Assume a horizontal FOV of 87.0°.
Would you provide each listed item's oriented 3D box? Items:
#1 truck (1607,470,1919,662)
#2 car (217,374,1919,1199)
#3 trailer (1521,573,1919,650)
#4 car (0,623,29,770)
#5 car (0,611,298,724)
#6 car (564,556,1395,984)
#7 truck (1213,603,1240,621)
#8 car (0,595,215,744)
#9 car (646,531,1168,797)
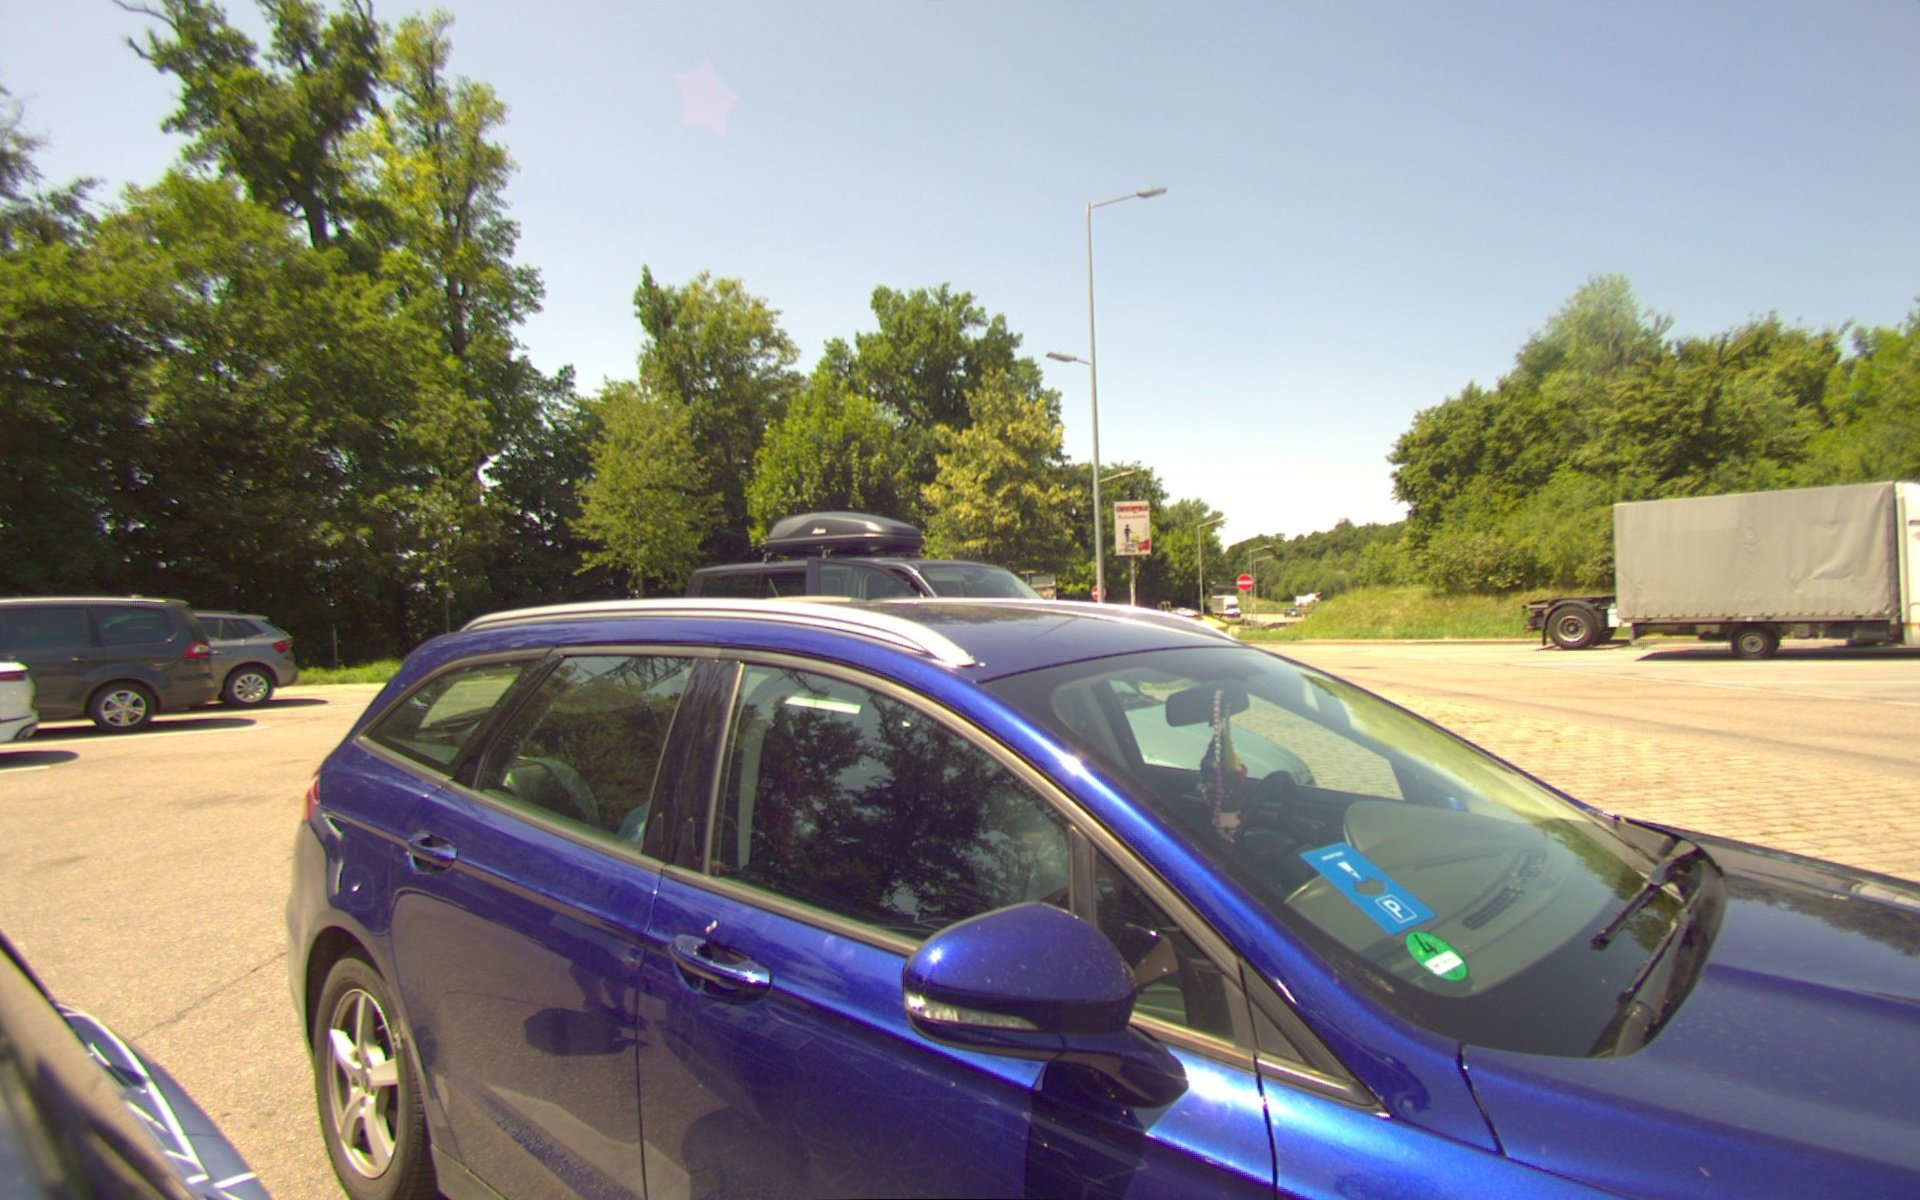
[{"bbox_3d":[16.711,-0.605,18.933,7.337,3.235,2.502,-4,-1,41],"label":"truck"},{"bbox_3d":[0.253,0.635,2.071,4.637,1.493,1.720,-2,-1,39],"label":"car"},{"bbox_3d":[17.639,0.307,23.155,8.088,1.385,2.200,-4,-1,41],"label":"trailer"},{"bbox_3d":[-10.991,0.934,9.154,3.767,1.396,1.722,0,-1,-44],"label":"car"},{"bbox_3d":[-12.589,0.957,15.699,3.762,1.551,1.724,0,-1,-38],"label":"car"},{"bbox_3d":[-0.210,0.672,5.783,4.637,1.545,1.720,-2,0,39],"label":"car"},{"bbox_3d":[46.930,2.120,178.568,2.427,2.980,5.849,-1,0,-8],"label":"truck"},{"bbox_3d":[-11.650,0.824,12.618,3.762,1.737,1.724,0,-1,-38],"label":"car"},{"bbox_3d":[-0.654,0.510,9.356,4.635,1.884,1.937,-2,0,37],"label":"car"}]
